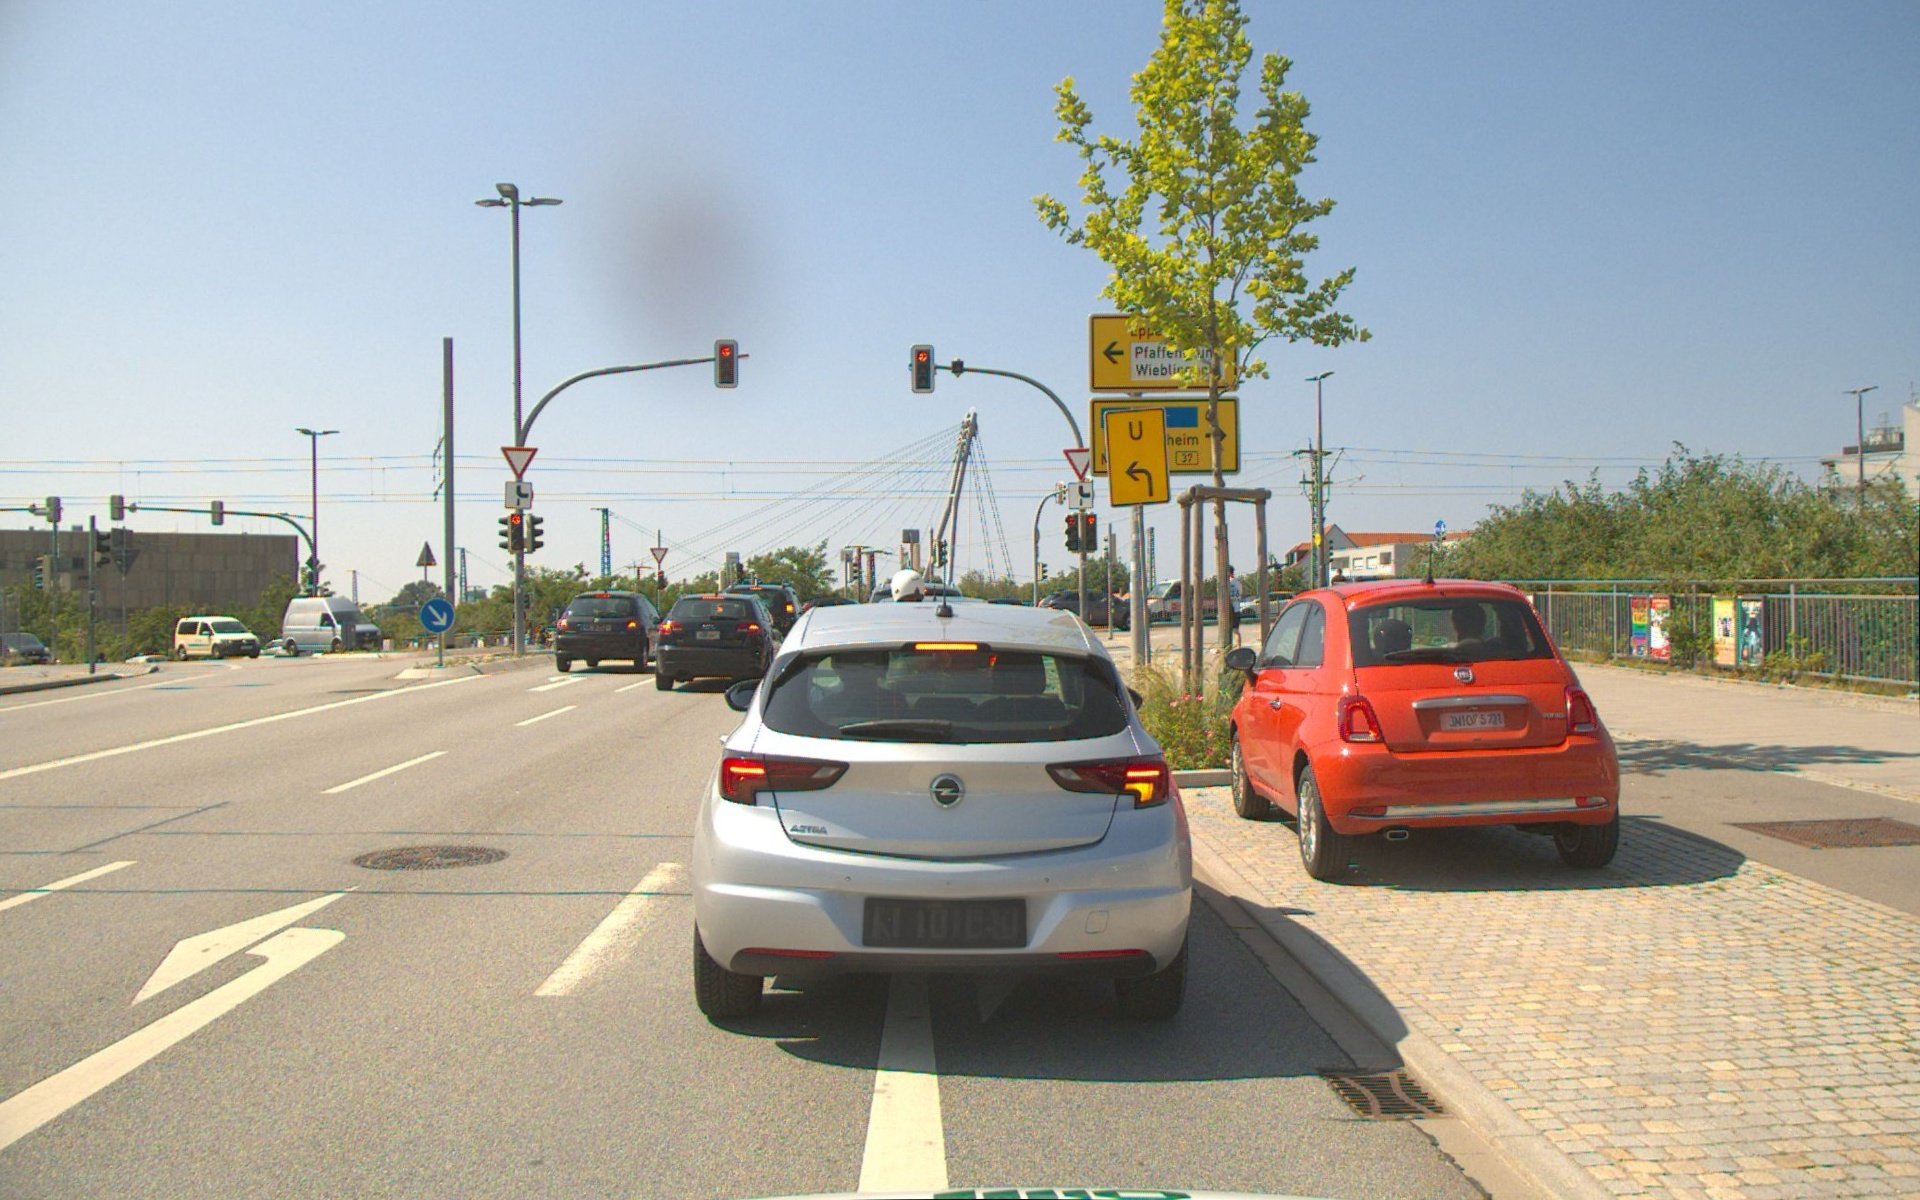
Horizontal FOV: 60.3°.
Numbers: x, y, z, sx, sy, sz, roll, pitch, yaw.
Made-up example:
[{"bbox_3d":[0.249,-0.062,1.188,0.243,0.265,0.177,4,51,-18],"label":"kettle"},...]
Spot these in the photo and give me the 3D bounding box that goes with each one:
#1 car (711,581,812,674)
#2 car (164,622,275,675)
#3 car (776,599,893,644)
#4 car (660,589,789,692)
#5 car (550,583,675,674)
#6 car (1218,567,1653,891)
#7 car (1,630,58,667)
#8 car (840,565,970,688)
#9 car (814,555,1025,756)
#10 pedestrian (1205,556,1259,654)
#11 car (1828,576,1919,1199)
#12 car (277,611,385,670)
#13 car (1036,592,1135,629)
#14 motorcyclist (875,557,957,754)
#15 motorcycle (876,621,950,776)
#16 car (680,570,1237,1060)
[{"bbox_3d":[-3.725,0.501,31.509,1.616,1.643,3.818,1,0,-3],"label":"car"},{"bbox_3d":[-31.171,2.012,69.590,4.616,2.049,1.995,1,0,31],"label":"car"},{"bbox_3d":[-4.725,0.802,62.611,4.184,1.660,1.757,0,-1,5],"label":"car"},{"bbox_3d":[-3.574,0.592,25.624,1.543,1.459,3.785,1,0,-2],"label":"car"},{"bbox_3d":[-6.421,0.504,30.914,1.565,1.574,3.761,1,0,-1],"label":"car"},{"bbox_3d":[2.590,0.620,9.769,1.577,1.522,3.352,-2,0,0],"label":"car"},{"bbox_3d":[-41.170,2.128,73.128,1.662,1.502,3.358,-1,1,-39],"label":"car"},{"bbox_3d":[-0.747,0.321,23.908,1.689,1.591,4.000,1,1,-1],"label":"car"},{"bbox_3d":[-0.407,0.494,17.726,1.953,1.852,4.401,1,1,-1],"label":"car"},{"bbox_3d":[5.230,0.091,31.848,0.787,1.868,0.643,0,-1,-30],"label":"pedestrian"},{"bbox_3d":[2.928,0.641,1.950,1.626,1.451,3.999,-2,0,-1],"label":"car"},{"bbox_3d":[-26.696,1.689,70.120,4.913,2.418,1.778,0,-1,34],"label":"car"},{"bbox_3d":[4.820,0.404,63.738,3.642,1.408,1.585,0,-1,-4],"label":"car"},{"bbox_3d":[-0.322,0.403,12.294,0.570,1.413,0.706,1,-1,-1],"label":"motorcyclist"},{"bbox_3d":[-0.336,0.685,12.368,0.491,1.031,2.173,1,0,-1],"label":"motorcycle"},{"bbox_3d":[-0.106,0.679,7.129,1.708,1.503,3.997,1,0,-3],"label":"car"}]
